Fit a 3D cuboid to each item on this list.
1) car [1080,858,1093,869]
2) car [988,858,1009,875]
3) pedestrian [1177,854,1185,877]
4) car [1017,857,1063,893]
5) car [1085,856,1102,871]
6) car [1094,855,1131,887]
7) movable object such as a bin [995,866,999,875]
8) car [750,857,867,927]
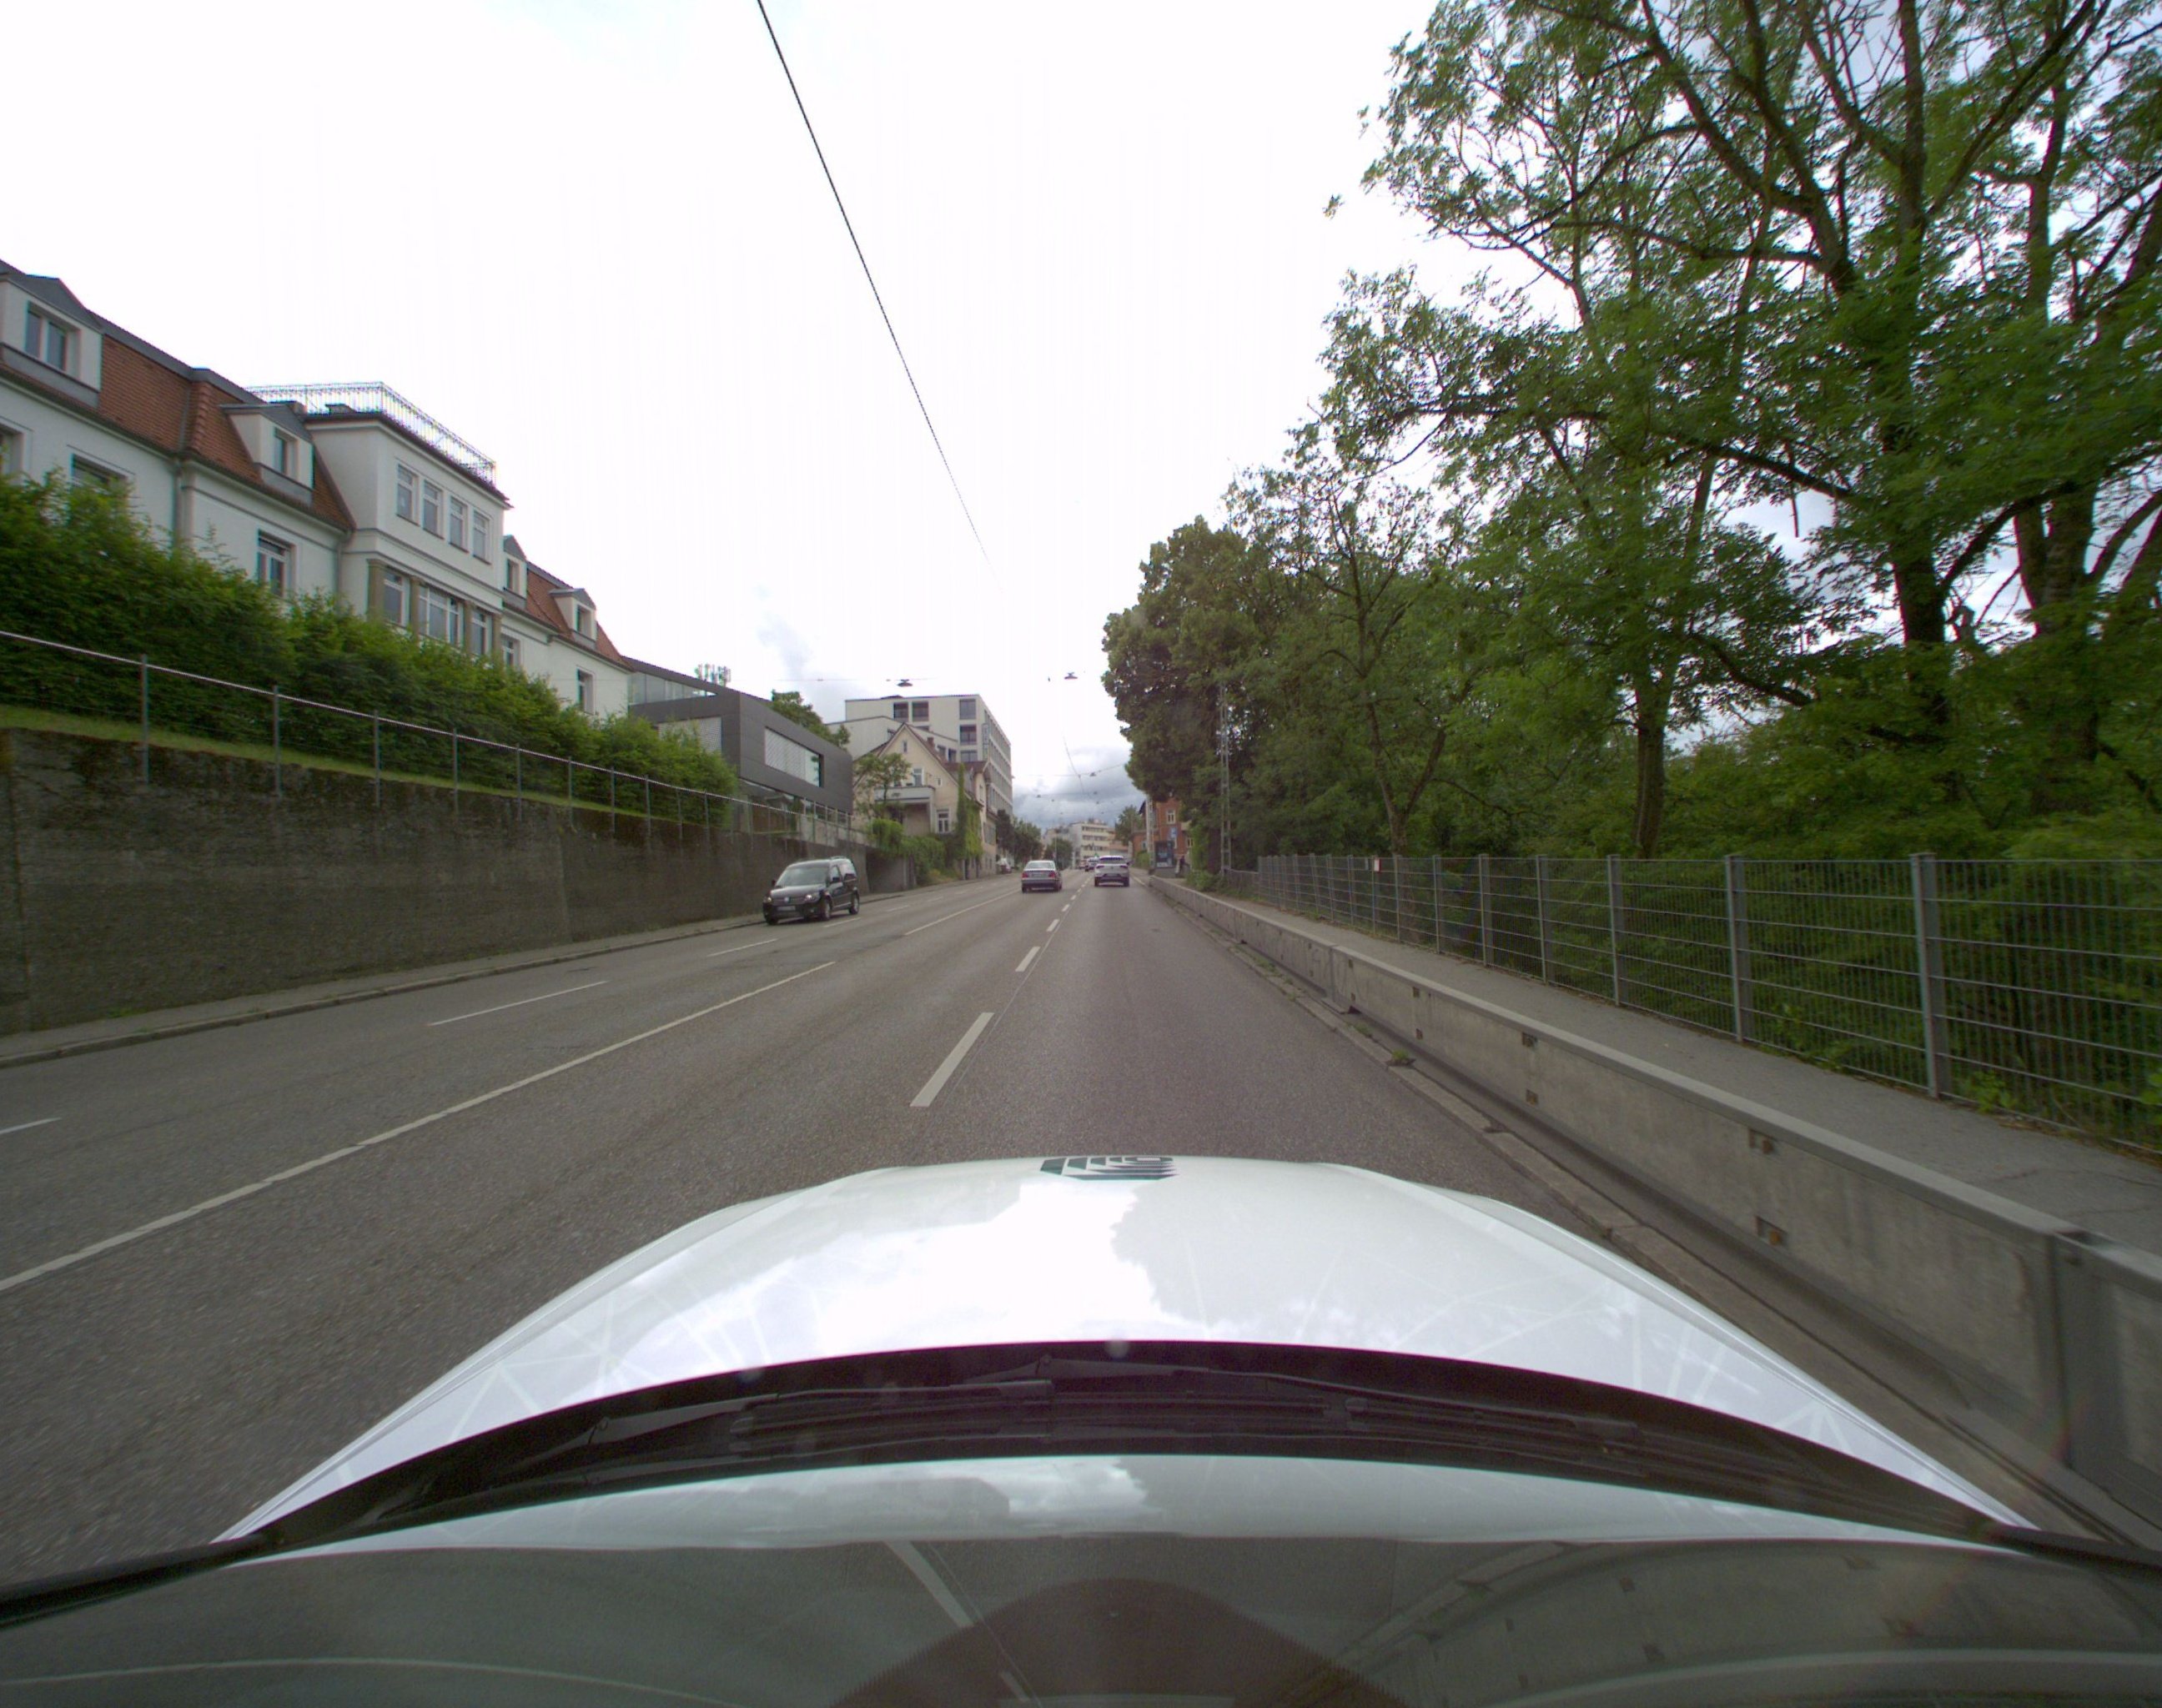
[{"bbox_3d":[0.842,1.350,114.007,1.700,1.464,4.001,-2,0,2],"label":"car"},{"bbox_3d":[-9.186,1.373,91.037,1.989,1.701,3.996,-2,0,-2],"label":"car"},{"bbox_3d":[7.622,0.875,61.867,0.508,1.717,0.465,-2,0,0],"label":"pedestrian"},{"bbox_3d":[-1.793,0.918,36.764,1.700,1.464,4.001,-2,0,2],"label":"car"},{"bbox_3d":[1.353,0.980,84.818,1.700,1.464,4.001,-2,0,2],"label":"car"},{"bbox_3d":[1.581,0.839,42.207,1.774,1.579,4.000,-1,0,1],"label":"car"},{"bbox_3d":[-9.113,1.753,88.241,0.424,0.965,0.359,0,-2,-1],"label":"movable object such as a bin"},{"bbox_3d":[-8.019,1.050,24.464,1.810,1.784,4.497,-3,0,2],"label":"car"}]
